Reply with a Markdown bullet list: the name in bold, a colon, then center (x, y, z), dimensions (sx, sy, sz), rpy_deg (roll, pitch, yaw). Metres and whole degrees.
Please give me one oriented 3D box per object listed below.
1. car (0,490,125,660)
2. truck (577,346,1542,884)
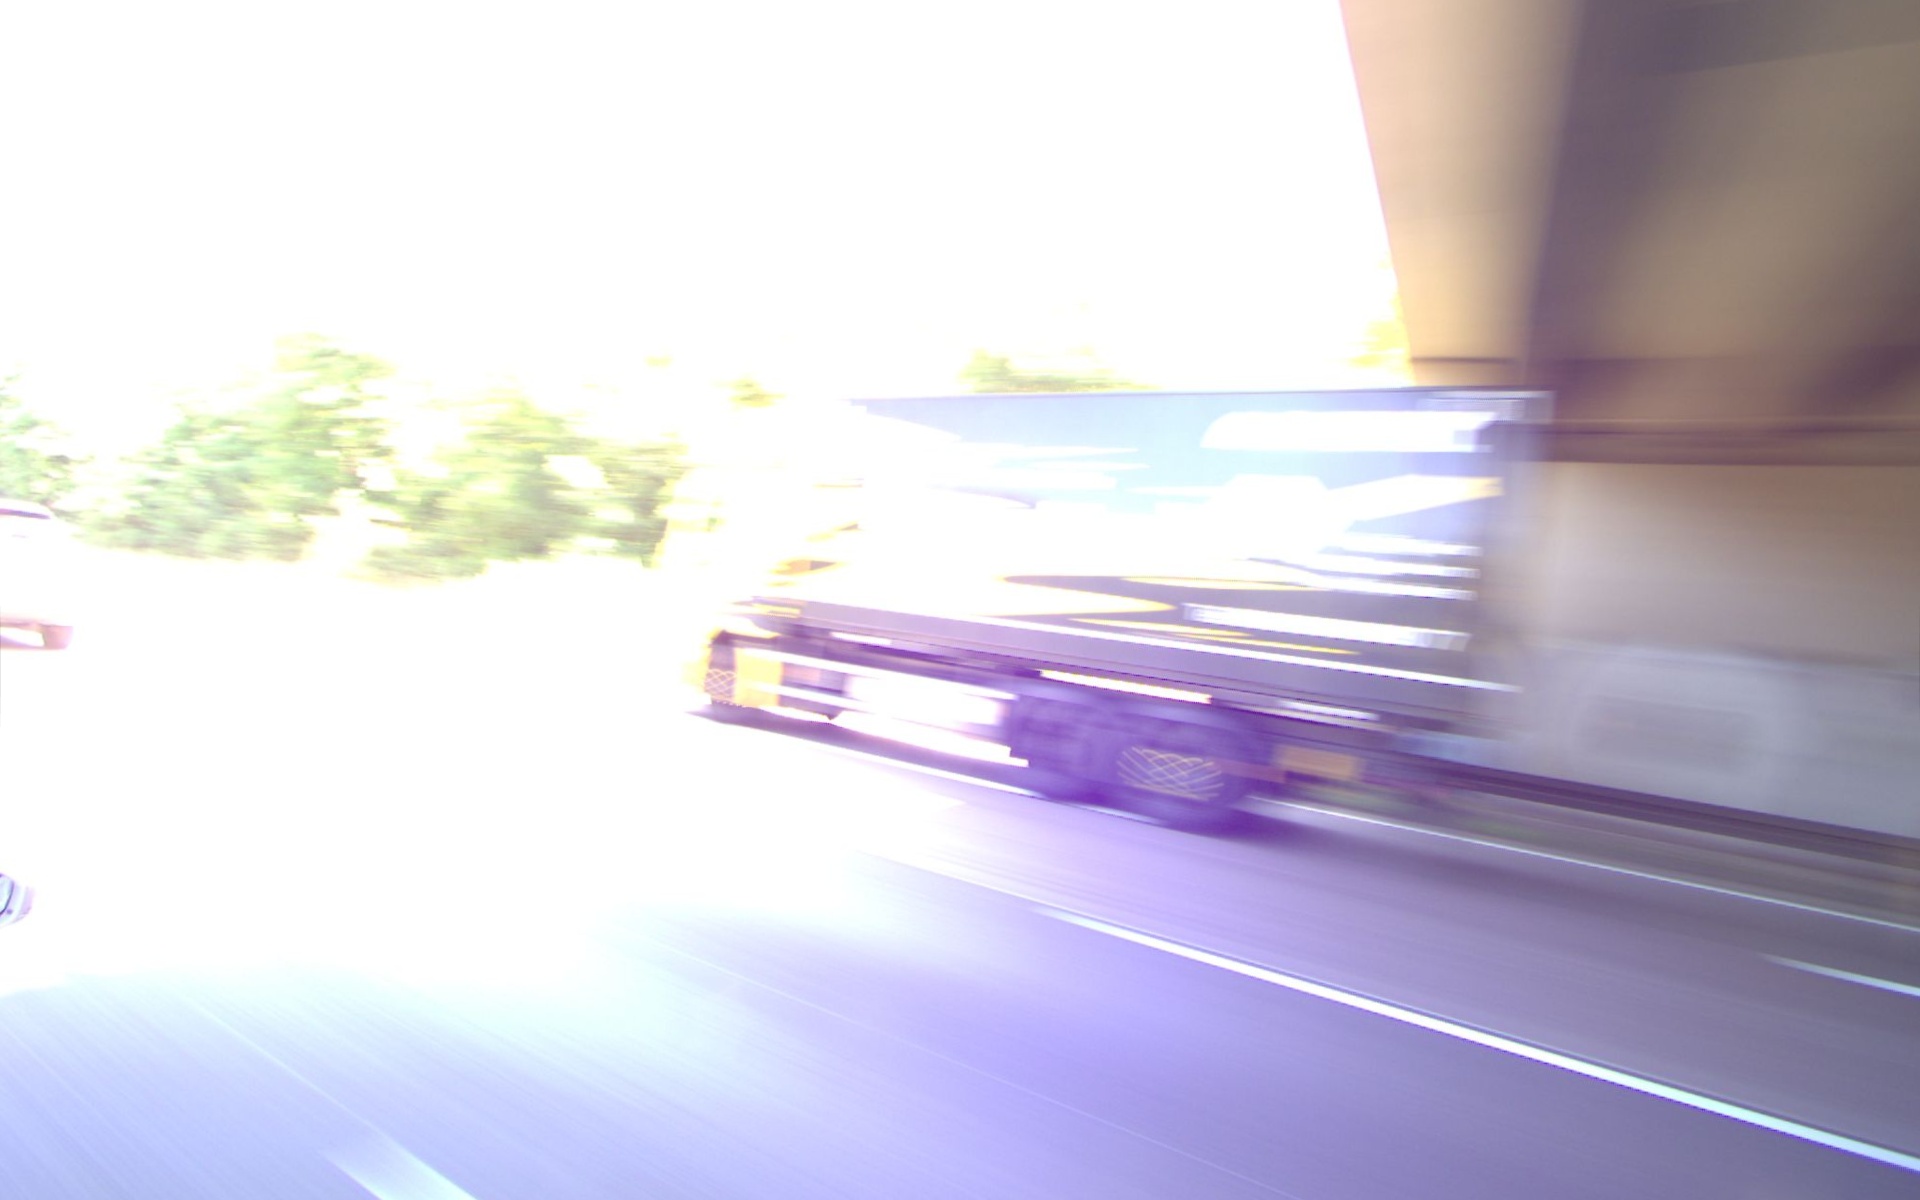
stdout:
- **car**: center (-11.429, -0.474, 11.146), dimensions (4.729, 1.627, 1.830), rpy_deg (6, -1, 32)
- **truck**: center (0.337, -0.196, 11.854), dimensions (10.806, 4.082, 2.980), rpy_deg (6, -2, 34)
